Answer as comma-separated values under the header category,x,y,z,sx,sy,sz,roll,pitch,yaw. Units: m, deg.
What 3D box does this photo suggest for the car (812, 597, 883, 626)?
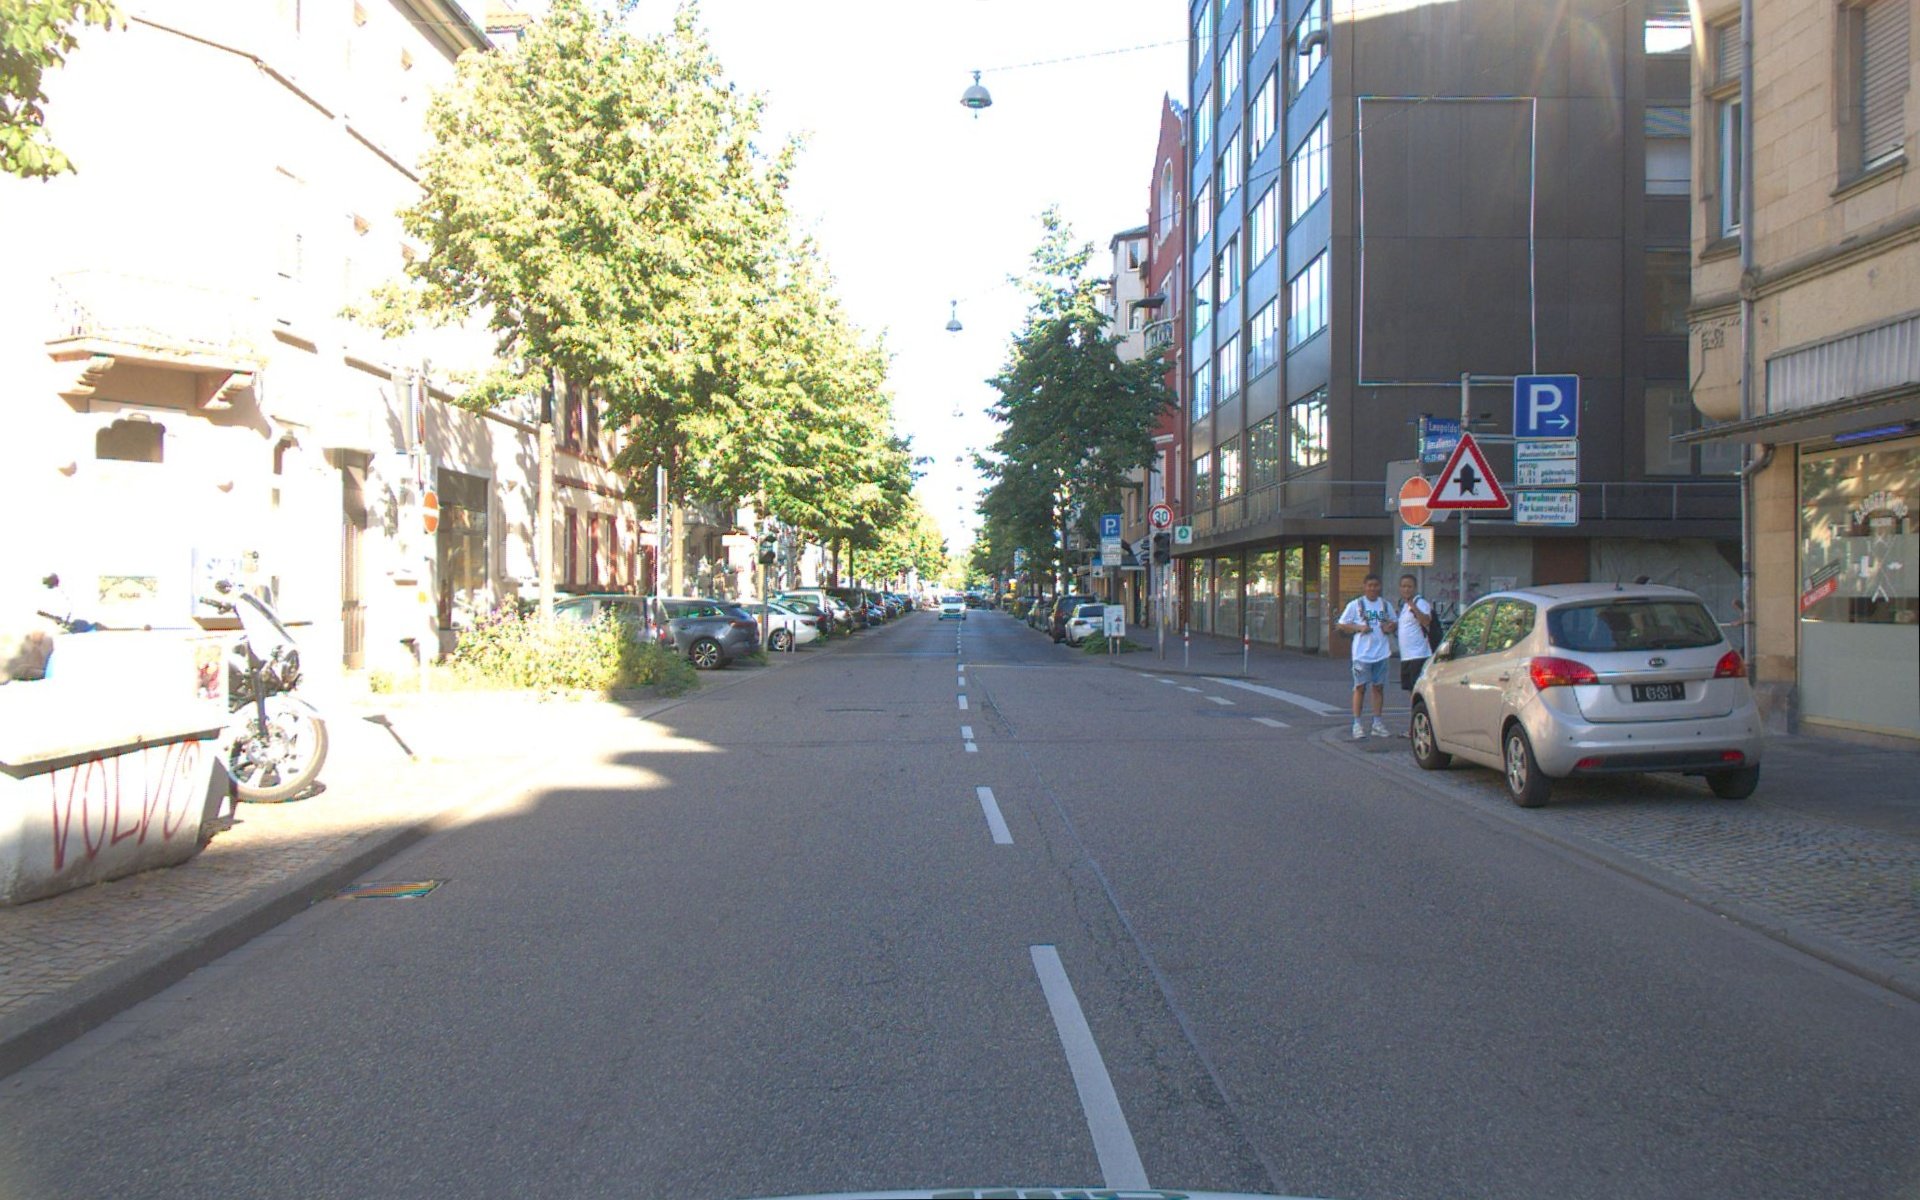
category,x,y,z,sx,sy,sz,roll,pitch,yaw
car,-6.734,0.683,98.932,3.903,1.534,2.001,3,-1,5

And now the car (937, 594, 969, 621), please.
category,x,y,z,sx,sy,sz,roll,pitch,yaw
car,-0.429,0.497,106.653,1.952,1.583,4.000,2,-1,1

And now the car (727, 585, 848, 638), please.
category,x,y,z,sx,sy,sz,roll,pitch,yaw
car,-5.943,0.417,57.493,3.905,1.703,2.089,2,-1,1

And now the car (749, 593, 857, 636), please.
category,x,y,z,sx,sy,sz,roll,pitch,yaw
car,-6.018,0.553,63.697,3.905,1.534,1.895,2,-1,1

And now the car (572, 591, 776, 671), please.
category,x,y,z,sx,sy,sz,roll,pitch,yaw
car,-5.976,0.641,34.910,3.905,1.534,2.000,2,-1,1

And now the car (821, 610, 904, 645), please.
category,x,y,z,sx,sy,sz,roll,pitch,yaw
car,-4.902,1.383,83.379,3.904,1.534,2.001,3,-1,3

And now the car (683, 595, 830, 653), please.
category,x,y,z,sx,sy,sz,roll,pitch,yaw
car,-5.831,0.698,47.775,3.905,1.534,2.000,2,-1,1

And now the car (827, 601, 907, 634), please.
category,x,y,z,sx,sy,sz,roll,pitch,yaw
car,-4.801,0.919,85.731,3.904,1.534,2.001,3,-1,3

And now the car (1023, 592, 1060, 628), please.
category,x,y,z,sx,sy,sz,roll,pitch,yaw
car,4.798,0.587,98.176,1.953,2.049,4.000,-1,0,0

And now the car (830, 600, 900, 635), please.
category,x,y,z,sx,sy,sz,roll,pitch,yaw
car,-5.866,1.055,102.145,3.902,2.049,2.002,1,0,10

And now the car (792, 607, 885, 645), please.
category,x,y,z,sx,sy,sz,roll,pitch,yaw
car,-5.346,1.141,73.169,3.905,1.534,2.000,2,-1,0

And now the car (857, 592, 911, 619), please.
category,x,y,z,sx,sy,sz,roll,pitch,yaw
car,-5.994,0.451,130.200,3.902,2.049,2.002,1,0,10

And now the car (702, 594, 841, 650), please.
category,x,y,z,sx,sy,sz,roll,pitch,yaw
car,-5.651,0.668,49.972,3.905,1.534,2.000,2,-1,1

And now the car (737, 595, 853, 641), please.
category,x,y,z,sx,sy,sz,roll,pitch,yaw
car,-5.935,0.649,59.803,3.905,1.534,2.000,2,-1,1

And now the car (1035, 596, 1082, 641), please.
category,x,y,z,sx,sy,sz,roll,pitch,yaw
car,4.671,0.902,79.210,1.953,2.049,3.999,2,-1,0

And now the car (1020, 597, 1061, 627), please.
category,x,y,z,sx,sy,sz,roll,pitch,yaw
car,4.219,0.626,87.477,1.953,1.478,4.000,1,0,0

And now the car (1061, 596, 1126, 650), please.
category,x,y,z,sx,sy,sz,roll,pitch,yaw
car,4.424,0.777,55.292,1.952,1.646,4.011,2,-1,2

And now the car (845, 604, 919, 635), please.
category,x,y,z,sx,sy,sz,roll,pitch,yaw
car,-4.355,1.120,93.204,3.904,1.534,2.001,3,-1,3

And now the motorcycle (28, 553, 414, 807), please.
category,x,y,z,sx,sy,sz,roll,pitch,yaw
motorcycle,-5.135,0.526,11.515,2.420,1.632,1.000,-1,0,19

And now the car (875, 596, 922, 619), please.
category,x,y,z,sx,sy,sz,roll,pitch,yaw
car,-5.570,0.681,150.257,3.902,2.049,2.002,1,0,10

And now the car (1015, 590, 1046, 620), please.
category,x,y,z,sx,sy,sz,roll,pitch,yaw
car,4.882,0.332,115.001,1.953,2.049,4.000,1,0,0

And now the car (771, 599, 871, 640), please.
category,x,y,z,sx,sy,sz,roll,pitch,yaw
car,-5.709,0.812,68.316,3.905,1.534,2.000,2,-1,0

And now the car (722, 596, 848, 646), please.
category,x,y,z,sx,sy,sz,roll,pitch,yaw
car,-5.797,0.689,55.004,3.905,1.534,2.000,2,-1,1

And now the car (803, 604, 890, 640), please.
category,x,y,z,sx,sy,sz,roll,pitch,yaw
car,-5.477,1.079,79.898,3.904,1.534,2.001,3,-1,3

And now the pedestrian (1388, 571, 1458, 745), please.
category,x,y,z,sx,sy,sz,roll,pitch,yaw
pedestrian,4.938,0.608,17.640,0.504,1.811,0.610,1,-2,37

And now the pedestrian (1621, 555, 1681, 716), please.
category,x,y,z,sx,sy,sz,roll,pitch,yaw
pedestrian,8.384,0.425,20.078,0.632,1.904,0.627,1,-1,23

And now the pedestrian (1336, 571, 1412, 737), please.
category,x,y,z,sx,sy,sz,roll,pitch,yaw
pedestrian,4.522,0.584,18.055,0.603,1.765,0.632,1,-1,33

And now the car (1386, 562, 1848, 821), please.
category,x,y,z,sx,sy,sz,roll,pitch,yaw
car,5.089,0.660,13.644,1.860,1.704,4.824,2,-1,0

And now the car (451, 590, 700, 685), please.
category,x,y,z,sx,sy,sz,roll,pitch,yaw
car,-6.771,0.657,29.446,3.905,1.534,2.000,2,-1,1
